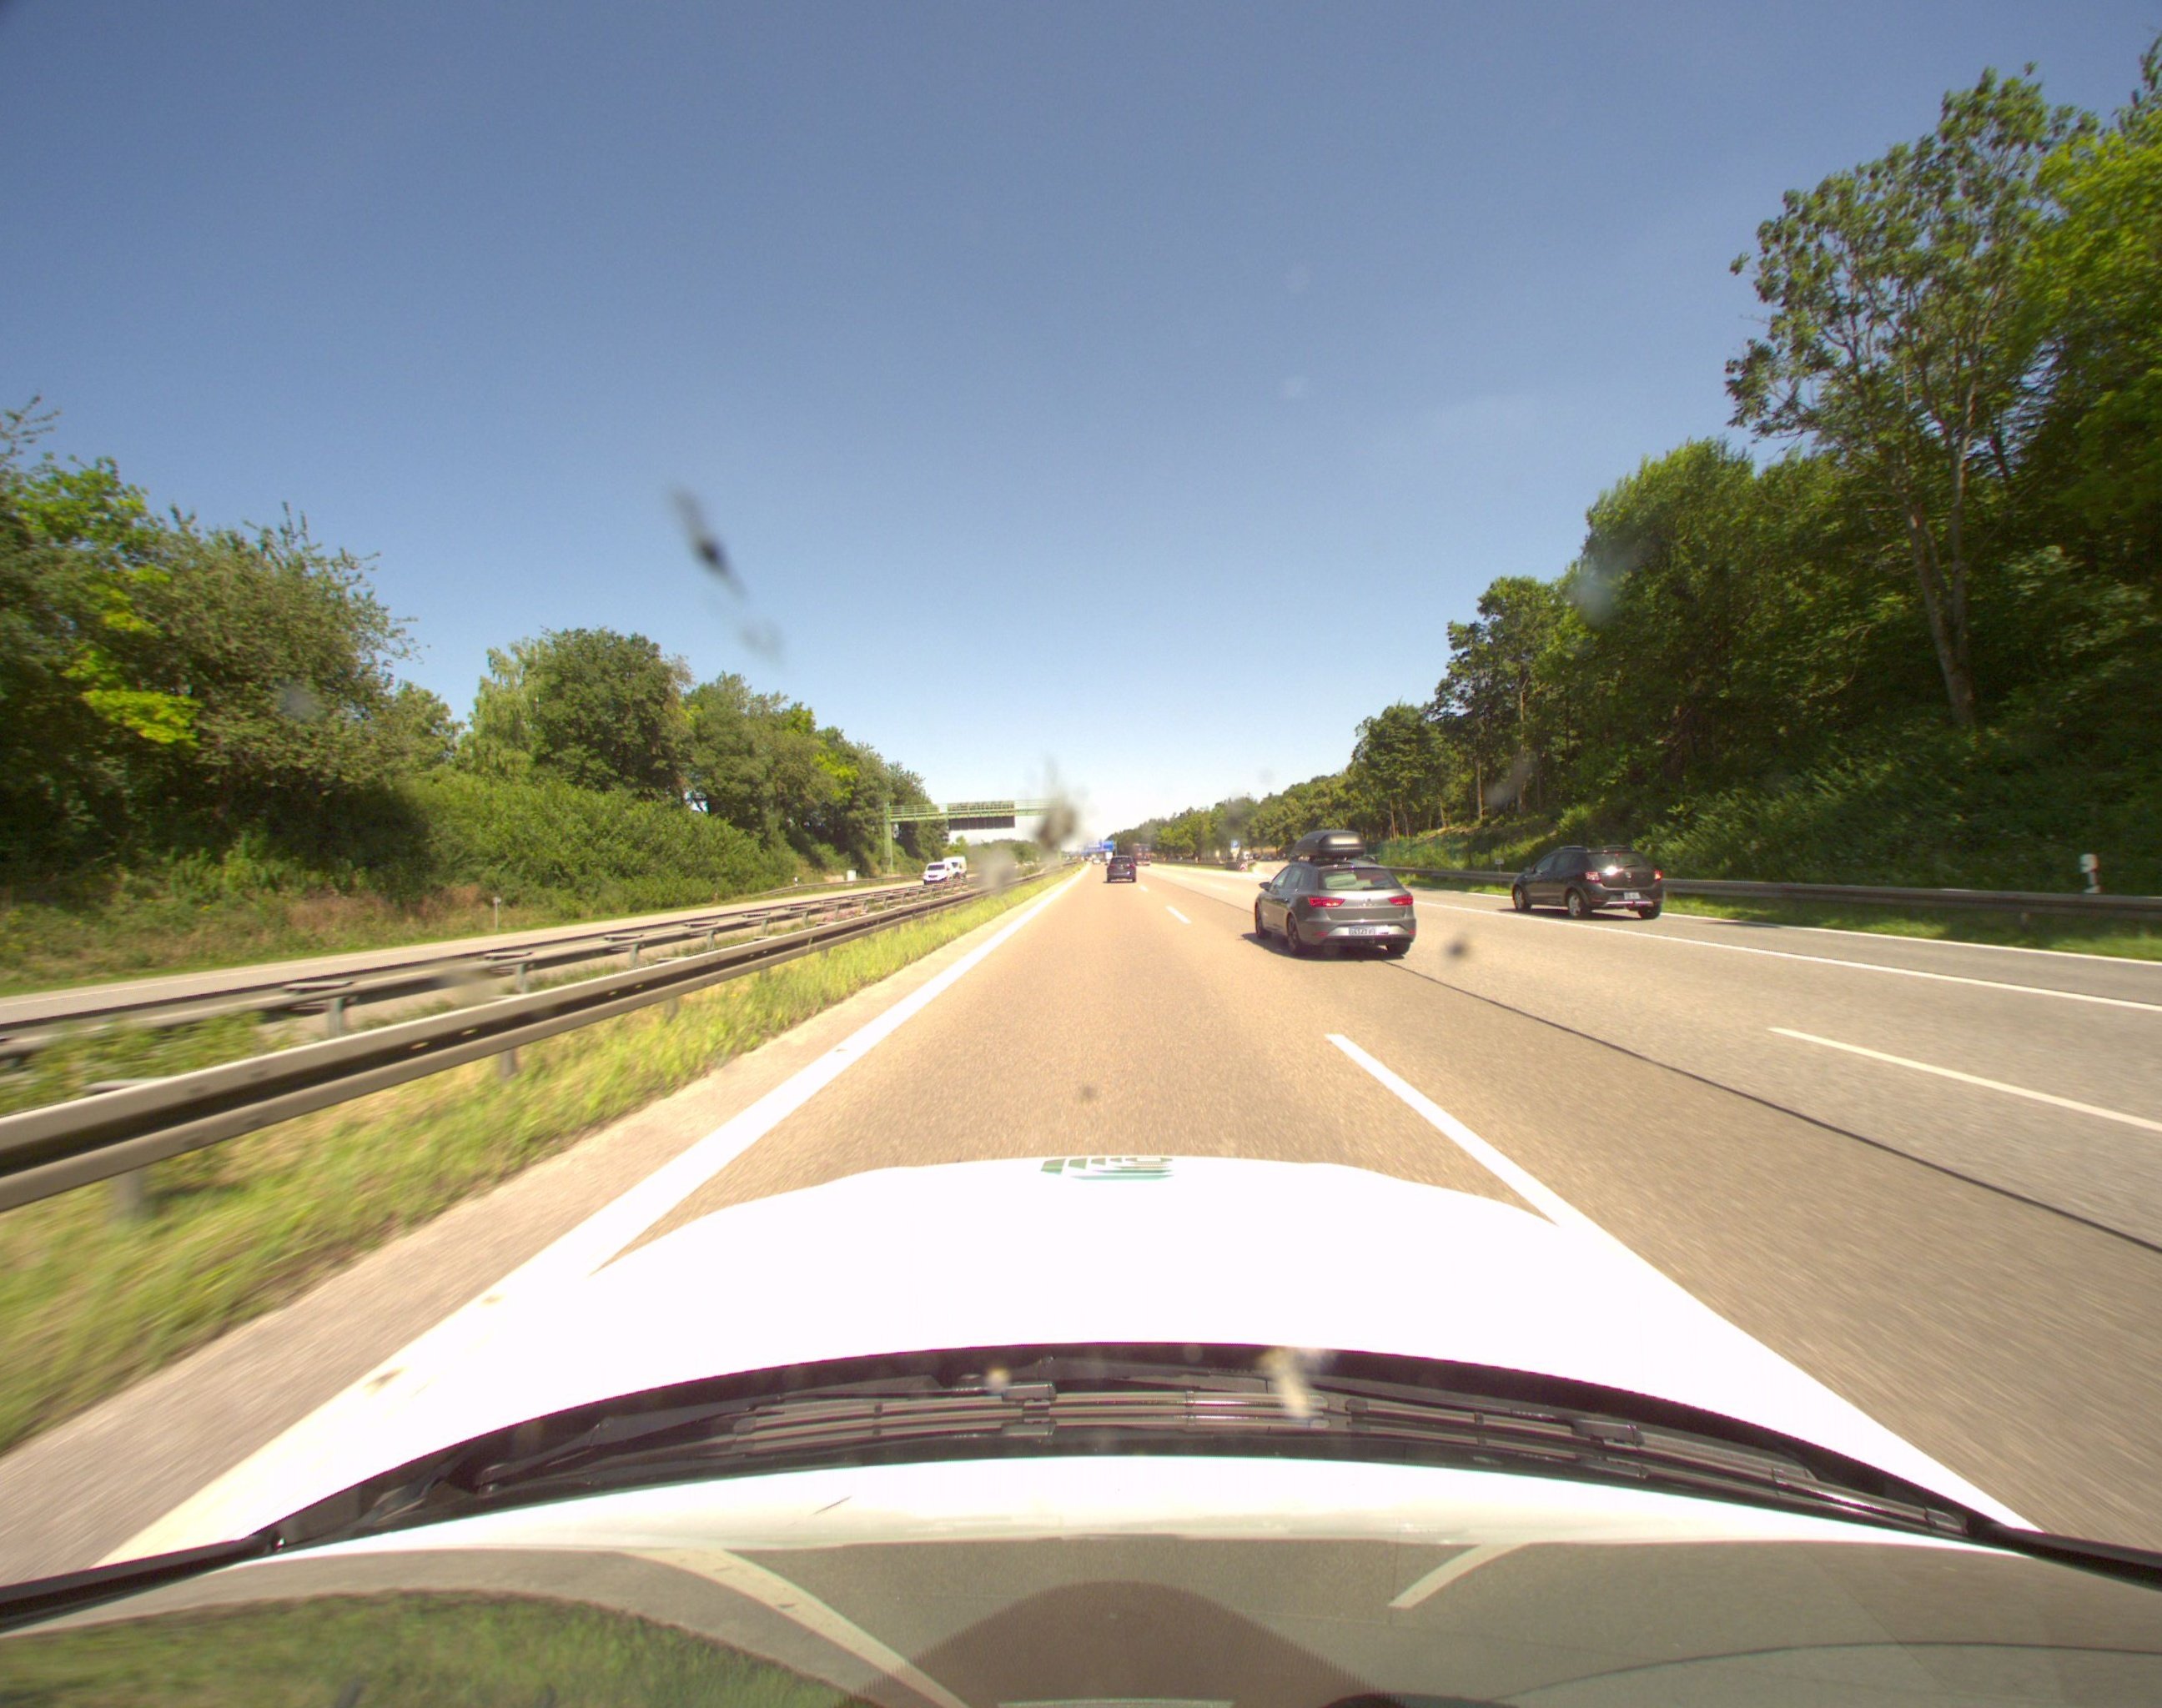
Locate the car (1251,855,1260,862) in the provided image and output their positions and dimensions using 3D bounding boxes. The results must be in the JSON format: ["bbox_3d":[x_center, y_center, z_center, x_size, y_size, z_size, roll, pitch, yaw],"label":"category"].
[{"bbox_3d":[45.785,1.252,213.595,1.648,1.877,4.807,-1,-1,5],"label":"car"}]

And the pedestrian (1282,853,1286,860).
[{"bbox_3d":[46.089,0.567,185.148,0.792,1.782,0.645,-2,-1,14],"label":"pedestrian"}]

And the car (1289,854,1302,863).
[{"bbox_3d":[41.820,0.905,158.912,1.981,1.651,4.330,-2,0,10],"label":"car"}]

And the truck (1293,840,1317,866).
[{"bbox_3d":[37.144,-0.192,135.438,3.263,3.947,9.381,-2,0,12],"label":"truck"}]

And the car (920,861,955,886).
[{"bbox_3d":[-11.499,1.547,65.632,1.739,1.830,5.170,-3,0,1],"label":"car"}]

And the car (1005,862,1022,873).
[{"bbox_3d":[-10.325,2.031,124.776,1.872,1.610,5.311,-3,0,1],"label":"car"}]

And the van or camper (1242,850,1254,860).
[{"bbox_3d":[46.329,0.232,226.425,2.195,2.531,5.876,-1,-1,1],"label":"van or camper"}]

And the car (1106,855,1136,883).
[{"bbox_3d":[2.519,0.907,50.731,1.791,1.669,4.262,0,0,4],"label":"car"}]

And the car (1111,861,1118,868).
[{"bbox_3d":[7.265,2.304,175.234,1.466,1.398,3.411,1,-1,1],"label":"car"}]

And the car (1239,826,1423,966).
[{"bbox_3d":[3.938,0.590,13.703,1.659,1.876,4.829,-3,0,2],"label":"car"}]

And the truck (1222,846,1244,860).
[{"bbox_3d":[46.040,-0.233,247.473,2.990,3.931,14.440,-1,-1,-4],"label":"truck"}]

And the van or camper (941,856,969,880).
[{"bbox_3d":[-14.667,1.604,94.916,2.030,2.559,6.199,-3,0,1],"label":"van or camper"}]

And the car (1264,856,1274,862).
[{"bbox_3d":[45.657,1.206,197.580,1.981,1.574,4.010,-2,-1,9],"label":"car"}]

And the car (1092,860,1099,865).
[{"bbox_3d":[3.479,2.040,194.664,1.466,1.227,3.411,-2,-1,1],"label":"car"}]

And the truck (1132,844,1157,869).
[{"bbox_3d":[11.573,0.515,149.788,3.767,4.422,14.052,-1,-1,1],"label":"truck"}]

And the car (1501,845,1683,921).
[{"bbox_3d":[11.602,0.608,18.879,1.757,1.568,4.262,0,0,4],"label":"car"}]
